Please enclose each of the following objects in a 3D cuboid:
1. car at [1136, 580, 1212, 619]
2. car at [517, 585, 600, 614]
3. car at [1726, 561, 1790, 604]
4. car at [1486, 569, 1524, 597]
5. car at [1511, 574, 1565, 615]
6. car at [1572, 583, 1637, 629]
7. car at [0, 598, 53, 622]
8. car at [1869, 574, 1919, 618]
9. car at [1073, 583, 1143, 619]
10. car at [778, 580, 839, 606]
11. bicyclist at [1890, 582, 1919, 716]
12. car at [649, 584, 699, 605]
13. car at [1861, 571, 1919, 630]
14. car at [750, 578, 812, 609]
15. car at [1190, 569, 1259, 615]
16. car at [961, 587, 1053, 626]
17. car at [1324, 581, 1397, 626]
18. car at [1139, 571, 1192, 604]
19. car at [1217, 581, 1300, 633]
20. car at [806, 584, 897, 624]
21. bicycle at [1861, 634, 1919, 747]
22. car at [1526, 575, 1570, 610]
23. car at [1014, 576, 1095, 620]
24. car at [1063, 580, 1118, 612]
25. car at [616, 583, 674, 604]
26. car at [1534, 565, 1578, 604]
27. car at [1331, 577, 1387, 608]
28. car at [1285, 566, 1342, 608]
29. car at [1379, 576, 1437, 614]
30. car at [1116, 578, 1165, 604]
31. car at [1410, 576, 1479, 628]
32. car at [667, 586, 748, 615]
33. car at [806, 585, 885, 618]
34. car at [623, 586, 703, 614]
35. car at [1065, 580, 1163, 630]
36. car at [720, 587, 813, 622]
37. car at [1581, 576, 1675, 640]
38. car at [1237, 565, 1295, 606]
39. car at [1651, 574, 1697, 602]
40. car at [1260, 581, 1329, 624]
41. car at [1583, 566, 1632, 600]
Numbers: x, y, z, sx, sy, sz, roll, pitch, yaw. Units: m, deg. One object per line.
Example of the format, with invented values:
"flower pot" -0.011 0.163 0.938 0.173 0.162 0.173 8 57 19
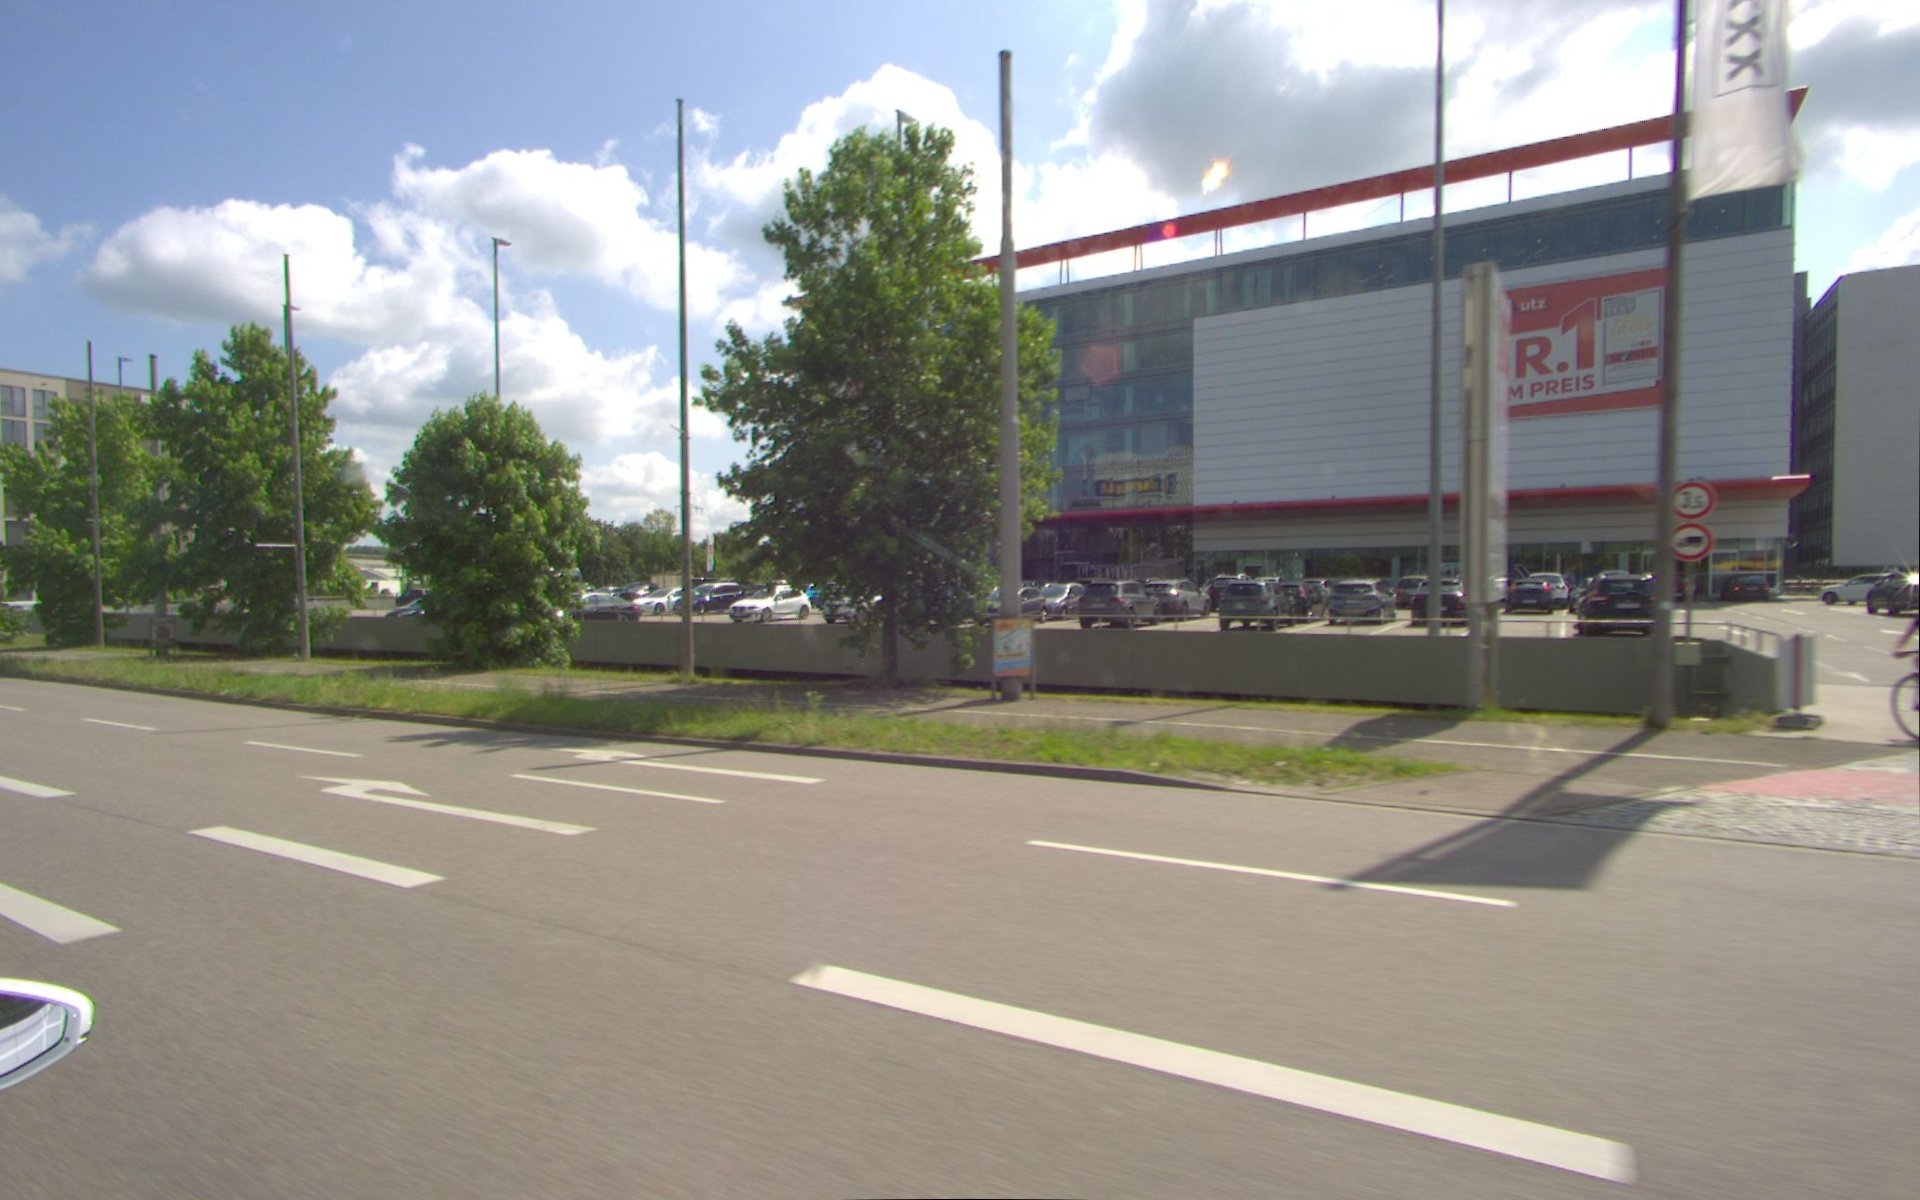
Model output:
"car" 8.651 -0.011 40.215 1.734 1.483 4.233 1 0 30
"car" -21.926 -0.004 54.828 1.721 1.534 3.981 -1 0 30
"car" 39.937 -0.832 50.191 1.971 2.040 3.980 1 0 31
"car" 30.888 -0.945 56.697 1.714 1.498 4.158 1 0 31
"car" 24.083 -0.281 41.771 1.825 1.609 4.217 1 2 30
"car" 22.103 0.181 34.455 1.733 1.447 4.280 2 2 32
"car" -92.535 0.936 97.960 1.978 2.285 5.467 1 0 43
"car" 34.397 -0.142 35.896 1.971 1.528 3.978 1 1 32
"car" 6.160 0.054 41.323 1.591 1.406 3.760 -1 0 30
"car" -9.329 -0.419 61.826 1.718 1.536 3.788 1 0 32
"bicyclist" 10.536 0.518 10.725 0.704 1.432 0.614 -1 1 -26
"car" -21.491 -0.401 75.398 1.562 1.484 3.518 1 0 32
"car" 27.464 0.005 28.649 1.670 1.609 4.008 1 1 30
"car" -11.334 -0.390 63.614 1.750 1.862 3.876 1 0 33
"car" 12.282 -0.359 46.345 1.971 2.040 3.979 1 0 32
"car" 1.877 0.219 38.358 1.738 1.343 4.350 1 2 30
"car" 14.485 0.128 36.095 1.863 1.519 4.352 -1 0 30
"car" 11.521 -0.674 56.003 1.651 1.806 3.979 1 0 32
"car" 10.024 0.180 33.488 1.738 1.574 4.174 1 2 30
"car" -4.595 0.185 42.968 1.970 1.591 3.982 -1 -1 29
"bicycle" 10.517 0.927 10.719 1.937 1.082 0.622 -1 2 -26
"car" 27.504 -0.325 46.823 1.681 1.531 4.332 1 0 31
"car" 4.066 -0.066 42.602 1.970 1.773 3.981 1 0 30
"car" 6.865 -0.183 52.436 1.551 1.617 3.666 1 0 30
"car" -24.350 -0.504 77.495 1.972 1.564 3.978 -1 0 33
"car" 32.741 -0.822 55.059 1.970 2.040 3.981 1 0 30
"car" 20.000 -0.352 50.092 1.878 1.483 3.978 1 0 33
"car" 18.162 -0.621 51.341 1.971 2.040 3.980 1 0 31
"car" 21.868 -0.269 48.780 1.972 1.773 3.977 1 1 33
"car" 9.110 -0.448 50.461 1.372 1.270 3.405 1 0 30
"car" 16.749 0.015 34.527 1.787 1.643 4.350 1 2 30
"car" -13.695 0.012 54.497 1.865 1.454 4.174 1 2 31
"car" -5.673 0.092 50.159 1.970 1.592 3.982 1 0 29
"car" -16.299 -0.022 55.227 1.701 1.454 4.174 1 2 31
"car" 5.529 0.128 35.509 2.000 1.596 4.350 1 2 30
"car" -8.664 0.159 45.186 1.864 1.408 4.177 0 2 29
"car" 17.952 0.168 27.077 1.715 1.552 4.048 -1 2 28
"car" 16.122 -0.729 52.637 1.971 2.040 3.980 1 0 31
"car" 37.290 -0.615 52.361 1.694 1.361 3.855 1 0 31
"car" 12.705 0.048 37.856 1.702 1.484 3.979 1 2 30
"car" 34.754 -0.876 53.821 1.970 1.746 3.981 1 0 30
